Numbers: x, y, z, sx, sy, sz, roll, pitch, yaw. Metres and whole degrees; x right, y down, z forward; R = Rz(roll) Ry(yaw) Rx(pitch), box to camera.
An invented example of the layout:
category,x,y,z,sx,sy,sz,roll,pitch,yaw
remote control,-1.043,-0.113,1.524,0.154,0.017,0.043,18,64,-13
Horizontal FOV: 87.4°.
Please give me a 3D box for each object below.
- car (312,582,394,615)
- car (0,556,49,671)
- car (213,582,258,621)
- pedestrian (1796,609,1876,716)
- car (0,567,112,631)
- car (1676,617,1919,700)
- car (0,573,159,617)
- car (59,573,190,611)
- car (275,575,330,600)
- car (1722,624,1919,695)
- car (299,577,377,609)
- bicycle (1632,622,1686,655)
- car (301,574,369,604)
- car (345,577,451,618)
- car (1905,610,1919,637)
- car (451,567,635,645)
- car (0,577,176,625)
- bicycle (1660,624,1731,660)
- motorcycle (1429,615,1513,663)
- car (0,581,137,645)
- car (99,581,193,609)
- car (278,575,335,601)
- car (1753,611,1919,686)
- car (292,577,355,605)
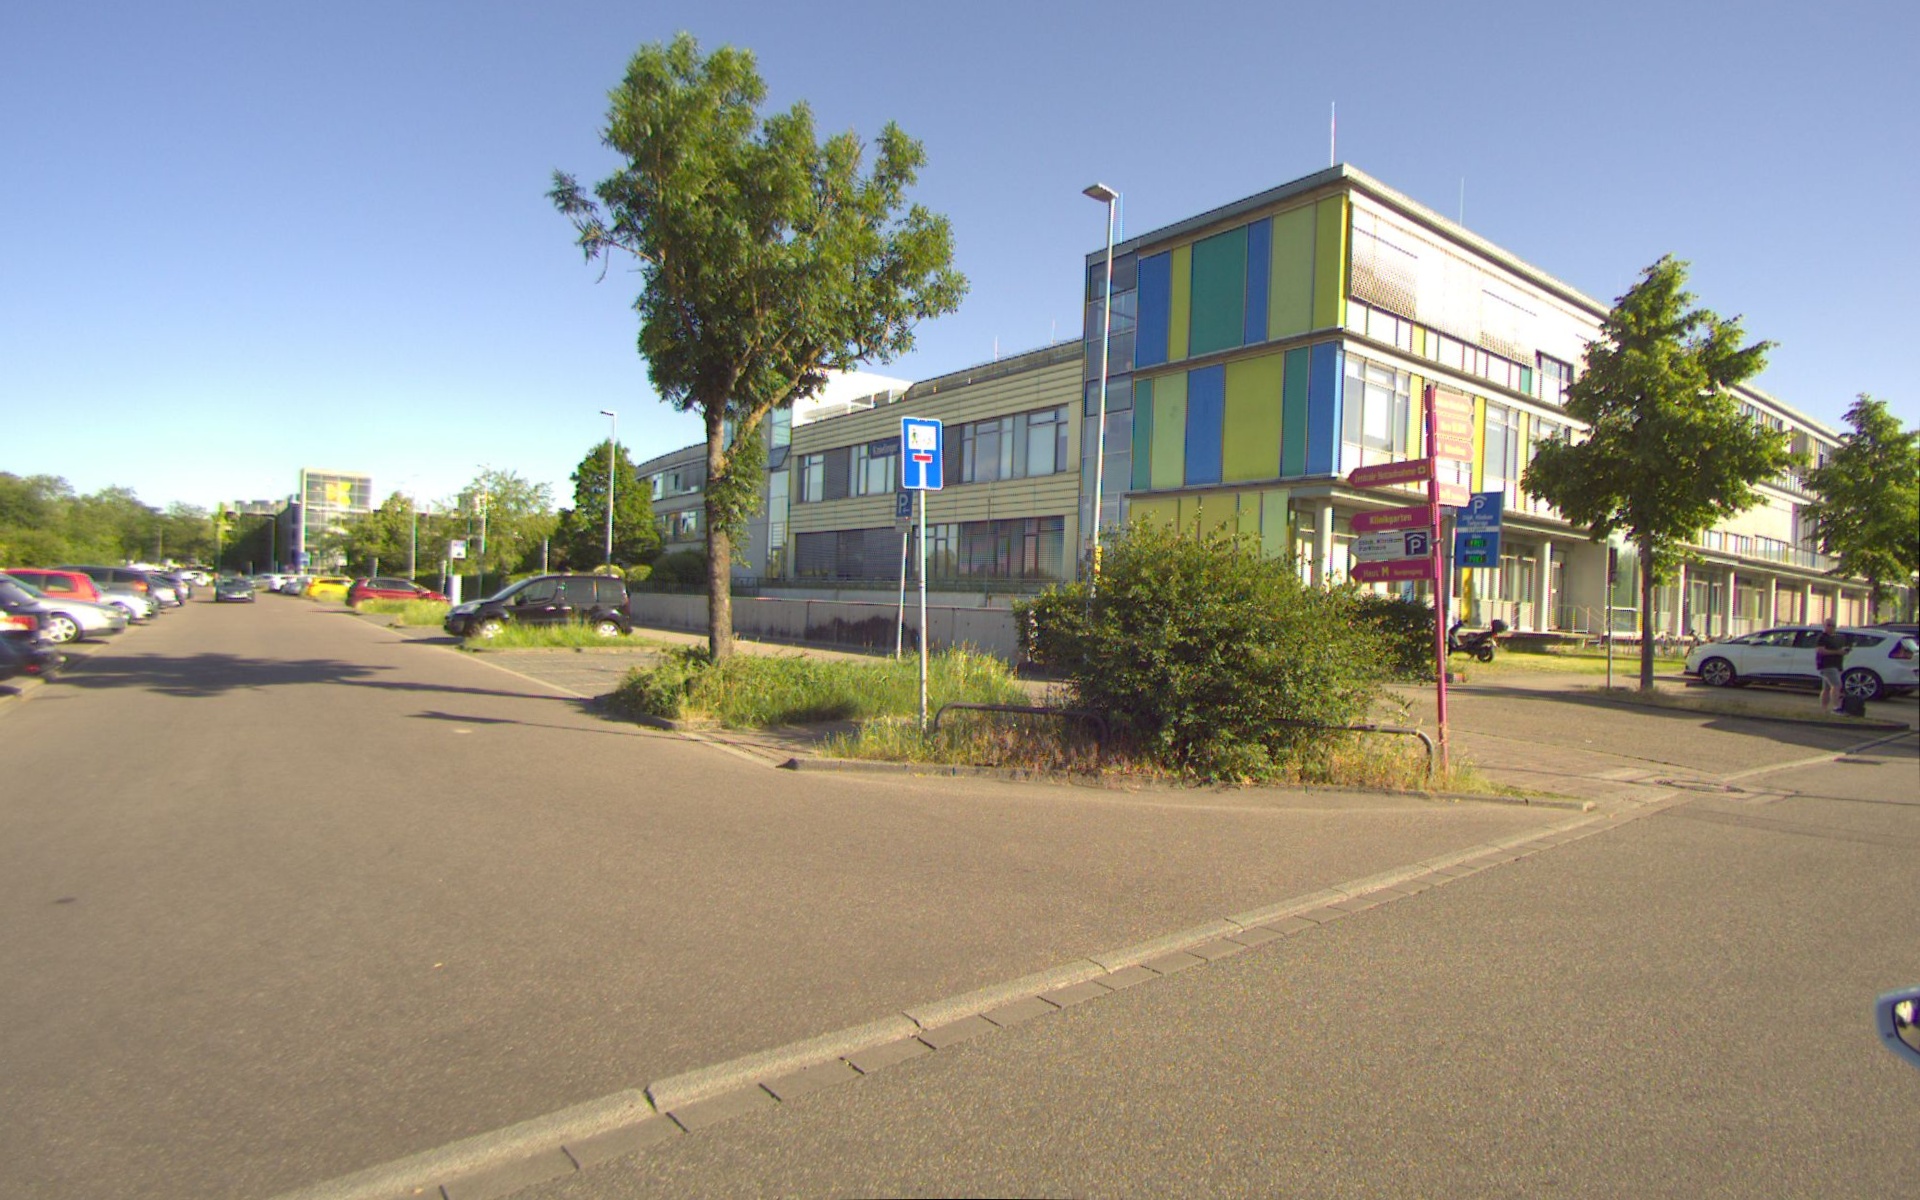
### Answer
category,x,y,z,sx,sy,sz,roll,pitch,yaw
car,-38.190,-0.086,63.268,4.346,1.966,1.982,2,0,-33
car,-16.219,0.147,14.852,3.804,1.717,1.497,2,0,-32
car,-41.127,0.064,57.024,1.982,2.040,3.958,2,0,-37
pedestrian,16.132,1.129,18.500,0.818,1.867,0.851,2,2,-36
car,-23.406,-0.041,24.597,3.804,1.504,1.497,2,0,-32
car,20.663,1.360,24.716,1.848,1.673,4.583,2,0,-34
car,-28.568,-0.132,32.757,3.814,1.280,1.494,2,-3,-39
car,-32.306,-0.282,38.976,3.814,1.280,1.494,2,-3,-39
car,-58.623,-1.116,89.558,3.964,2.040,1.978,2,0,-38
car,22.839,1.502,26.171,1.811,1.521,4.401,2,0,-37
car,-42.750,-0.486,69.053,4.354,2.040,1.978,2,0,-38
bicycle,27.030,1.495,38.853,1.968,1.169,0.865,3,1,-29
car,-44.939,-0.766,72.273,3.964,2.040,1.978,2,0,-38
car,-25.365,-0.119,45.372,3.964,1.724,1.978,2,0,-38
car,77.608,1.958,80.619,3.965,2.040,1.978,3,0,-38
car,-10.425,0.185,25.208,4.058,1.813,1.497,2,0,-32
car,-25.294,0.033,29.284,3.813,1.281,1.493,2,0,-39
bicycle,27.391,1.572,37.401,2.335,1.169,0.869,3,1,-17
motorcycle,14.455,1.091,28.450,0.495,1.165,2.026,1,4,-39
car,-19.581,0.280,20.855,3.814,1.280,1.494,2,-3,-39
car,-41.394,-0.219,51.181,3.656,1.280,1.494,2,-3,-39
car,-56.725,-1.034,87.222,3.964,2.040,1.978,2,0,-38
car,26.935,1.419,30.025,1.810,1.890,4.707,1,2,-37
car,-49.249,-0.709,77.770,3.964,2.040,1.978,2,0,-38
